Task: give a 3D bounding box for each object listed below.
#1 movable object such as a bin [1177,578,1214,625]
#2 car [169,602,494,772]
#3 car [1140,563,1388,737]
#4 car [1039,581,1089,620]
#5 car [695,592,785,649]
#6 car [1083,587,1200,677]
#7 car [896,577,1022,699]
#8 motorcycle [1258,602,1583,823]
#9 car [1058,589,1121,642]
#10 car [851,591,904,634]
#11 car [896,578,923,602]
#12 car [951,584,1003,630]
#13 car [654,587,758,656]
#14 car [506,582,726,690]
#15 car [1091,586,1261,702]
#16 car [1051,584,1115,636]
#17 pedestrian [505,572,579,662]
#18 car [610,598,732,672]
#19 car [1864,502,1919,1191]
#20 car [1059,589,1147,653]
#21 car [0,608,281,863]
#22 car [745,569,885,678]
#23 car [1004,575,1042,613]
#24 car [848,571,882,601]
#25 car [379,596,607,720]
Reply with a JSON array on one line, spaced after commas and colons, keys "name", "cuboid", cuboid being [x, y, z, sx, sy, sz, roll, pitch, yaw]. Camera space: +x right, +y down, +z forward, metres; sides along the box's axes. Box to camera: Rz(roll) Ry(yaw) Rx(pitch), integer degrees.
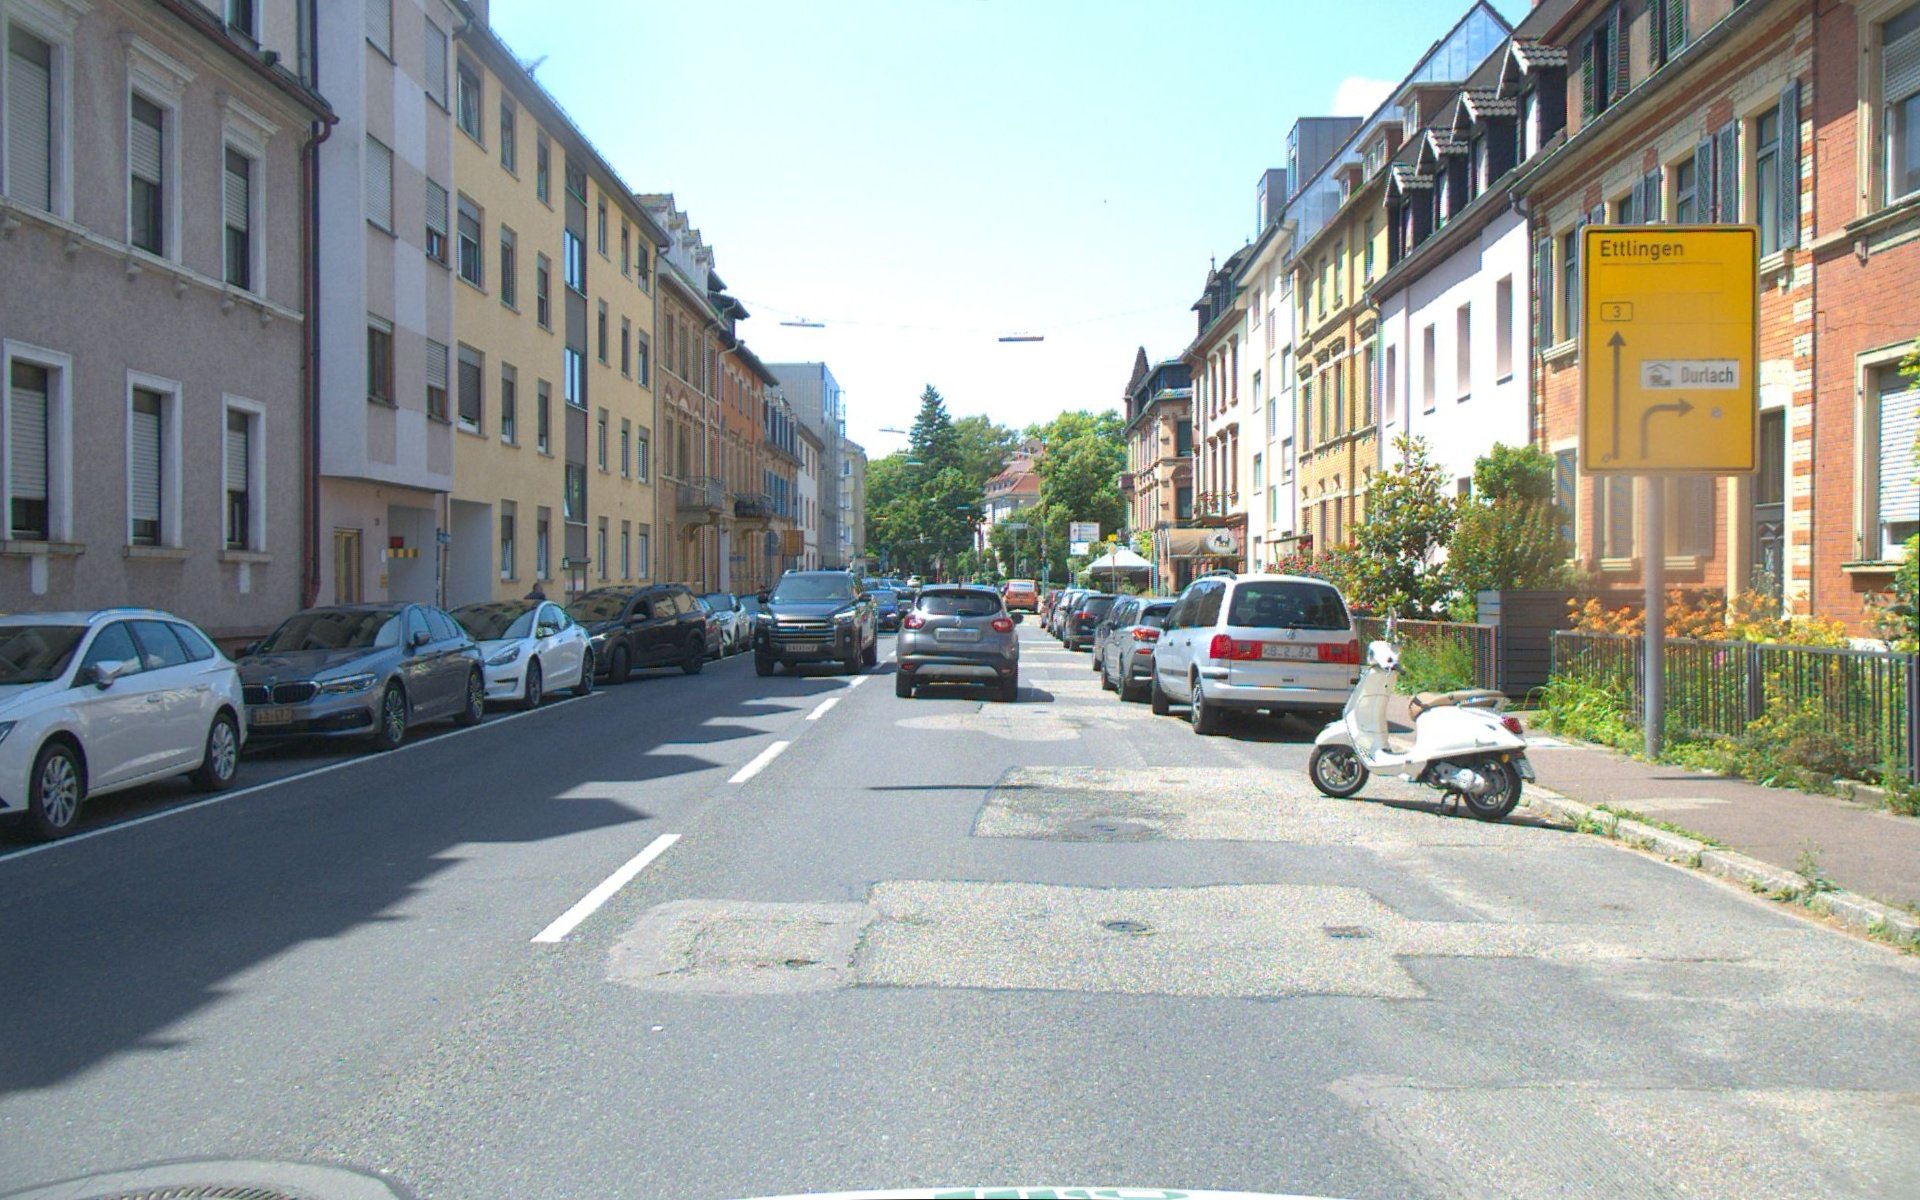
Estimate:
[{"name": "movable object such as a bin", "cuboid": [7.305, 0.045, 51.381, 1.021, 1.426, 1.254, 1, 1, 2]}, {"name": "car", "cuboid": [-6.483, 0.808, 17.668, 1.803, 1.447, 4.644, -3, 0, -3]}, {"name": "car", "cuboid": [3.414, 0.484, 19.499, 1.823, 1.778, 4.615, 1, 1, -3]}, {"name": "car", "cuboid": [4.011, 0.001, 64.243, 1.579, 1.468, 3.435, 0, 1, -3]}, {"name": "car", "cuboid": [-6.260, 0.552, 47.500, 1.866, 1.425, 4.755, -3, 1, 0]}, {"name": "car", "cuboid": [3.366, 0.549, 31.373, 1.661, 1.513, 4.618, 1, 1, 0]}, {"name": "car", "cuboid": [-0.016, 0.498, 24.399, 1.708, 1.644, 4.000, 0, 0, 0]}, {"name": "motorcycle", "cuboid": [3.245, 0.726, 11.716, 1.958, 1.410, 1.108, 0, 0, 38]}, {"name": "car", "cuboid": [3.872, 0.429, 49.812, 1.625, 1.466, 4.001, 1, 1, 1]}, {"name": "car", "cuboid": [-2.900, 0.422, 58.714, 1.779, 1.413, 3.998, -1, 0, -2]}, {"name": "car", "cuboid": [-3.682, -0.701, 120.046, 1.900, 1.654, 3.999, 1, 0, -2]}, {"name": "car", "cuboid": [0.625, 0.254, 63.970, 1.776, 1.649, 4.440, -2, 1, -2]}, {"name": "car", "cuboid": [-6.281, 0.484, 41.301, 1.866, 1.536, 4.302, -3, 1, 0]}, {"name": "car", "cuboid": [-6.079, 0.584, 29.834, 1.864, 1.666, 4.561, -3, 1, 17]}, {"name": "car", "cuboid": [3.120, 0.585, 24.714, 1.823, 1.513, 4.308, 1, 1, -2]}, {"name": "car", "cuboid": [3.985, 0.310, 54.068, 1.822, 1.580, 4.001, 1, 1, 1]}, {"name": "pedestrian", "cuboid": [-8.438, 0.329, 33.408, 1.134, 1.780, 0.964, -1, 1, 41]}, {"name": "car", "cuboid": [-6.279, 0.717, 36.391, 1.866, 1.403, 4.061, -3, 1, 1]}, {"name": "car", "cuboid": [3.331, 0.604, 1.955, 1.953, 1.691, 4.625, -1, 0, 0]}, {"name": "car", "cuboid": [3.642, 0.505, 42.919, 1.822, 1.490, 4.618, 1, 1, 0]}, {"name": "car", "cuboid": [-6.615, 0.845, 11.783, 1.803, 1.447, 4.500, -3, 0, -3]}, {"name": "car", "cuboid": [-2.616, 0.366, 30.997, 1.952, 1.823, 5.150, -2, 1, 2]}, {"name": "car", "cuboid": [3.619, -0.344, 94.033, 1.952, 2.049, 4.469, -1, 1, 4]}, {"name": "car", "cuboid": [-6.192, -0.937, 108.653, 1.865, 1.853, 4.303, -1, 1, 1]}, {"name": "car", "cuboid": [-6.469, 0.743, 23.452, 1.802, 1.447, 4.558, -4, 0, 1]}]
